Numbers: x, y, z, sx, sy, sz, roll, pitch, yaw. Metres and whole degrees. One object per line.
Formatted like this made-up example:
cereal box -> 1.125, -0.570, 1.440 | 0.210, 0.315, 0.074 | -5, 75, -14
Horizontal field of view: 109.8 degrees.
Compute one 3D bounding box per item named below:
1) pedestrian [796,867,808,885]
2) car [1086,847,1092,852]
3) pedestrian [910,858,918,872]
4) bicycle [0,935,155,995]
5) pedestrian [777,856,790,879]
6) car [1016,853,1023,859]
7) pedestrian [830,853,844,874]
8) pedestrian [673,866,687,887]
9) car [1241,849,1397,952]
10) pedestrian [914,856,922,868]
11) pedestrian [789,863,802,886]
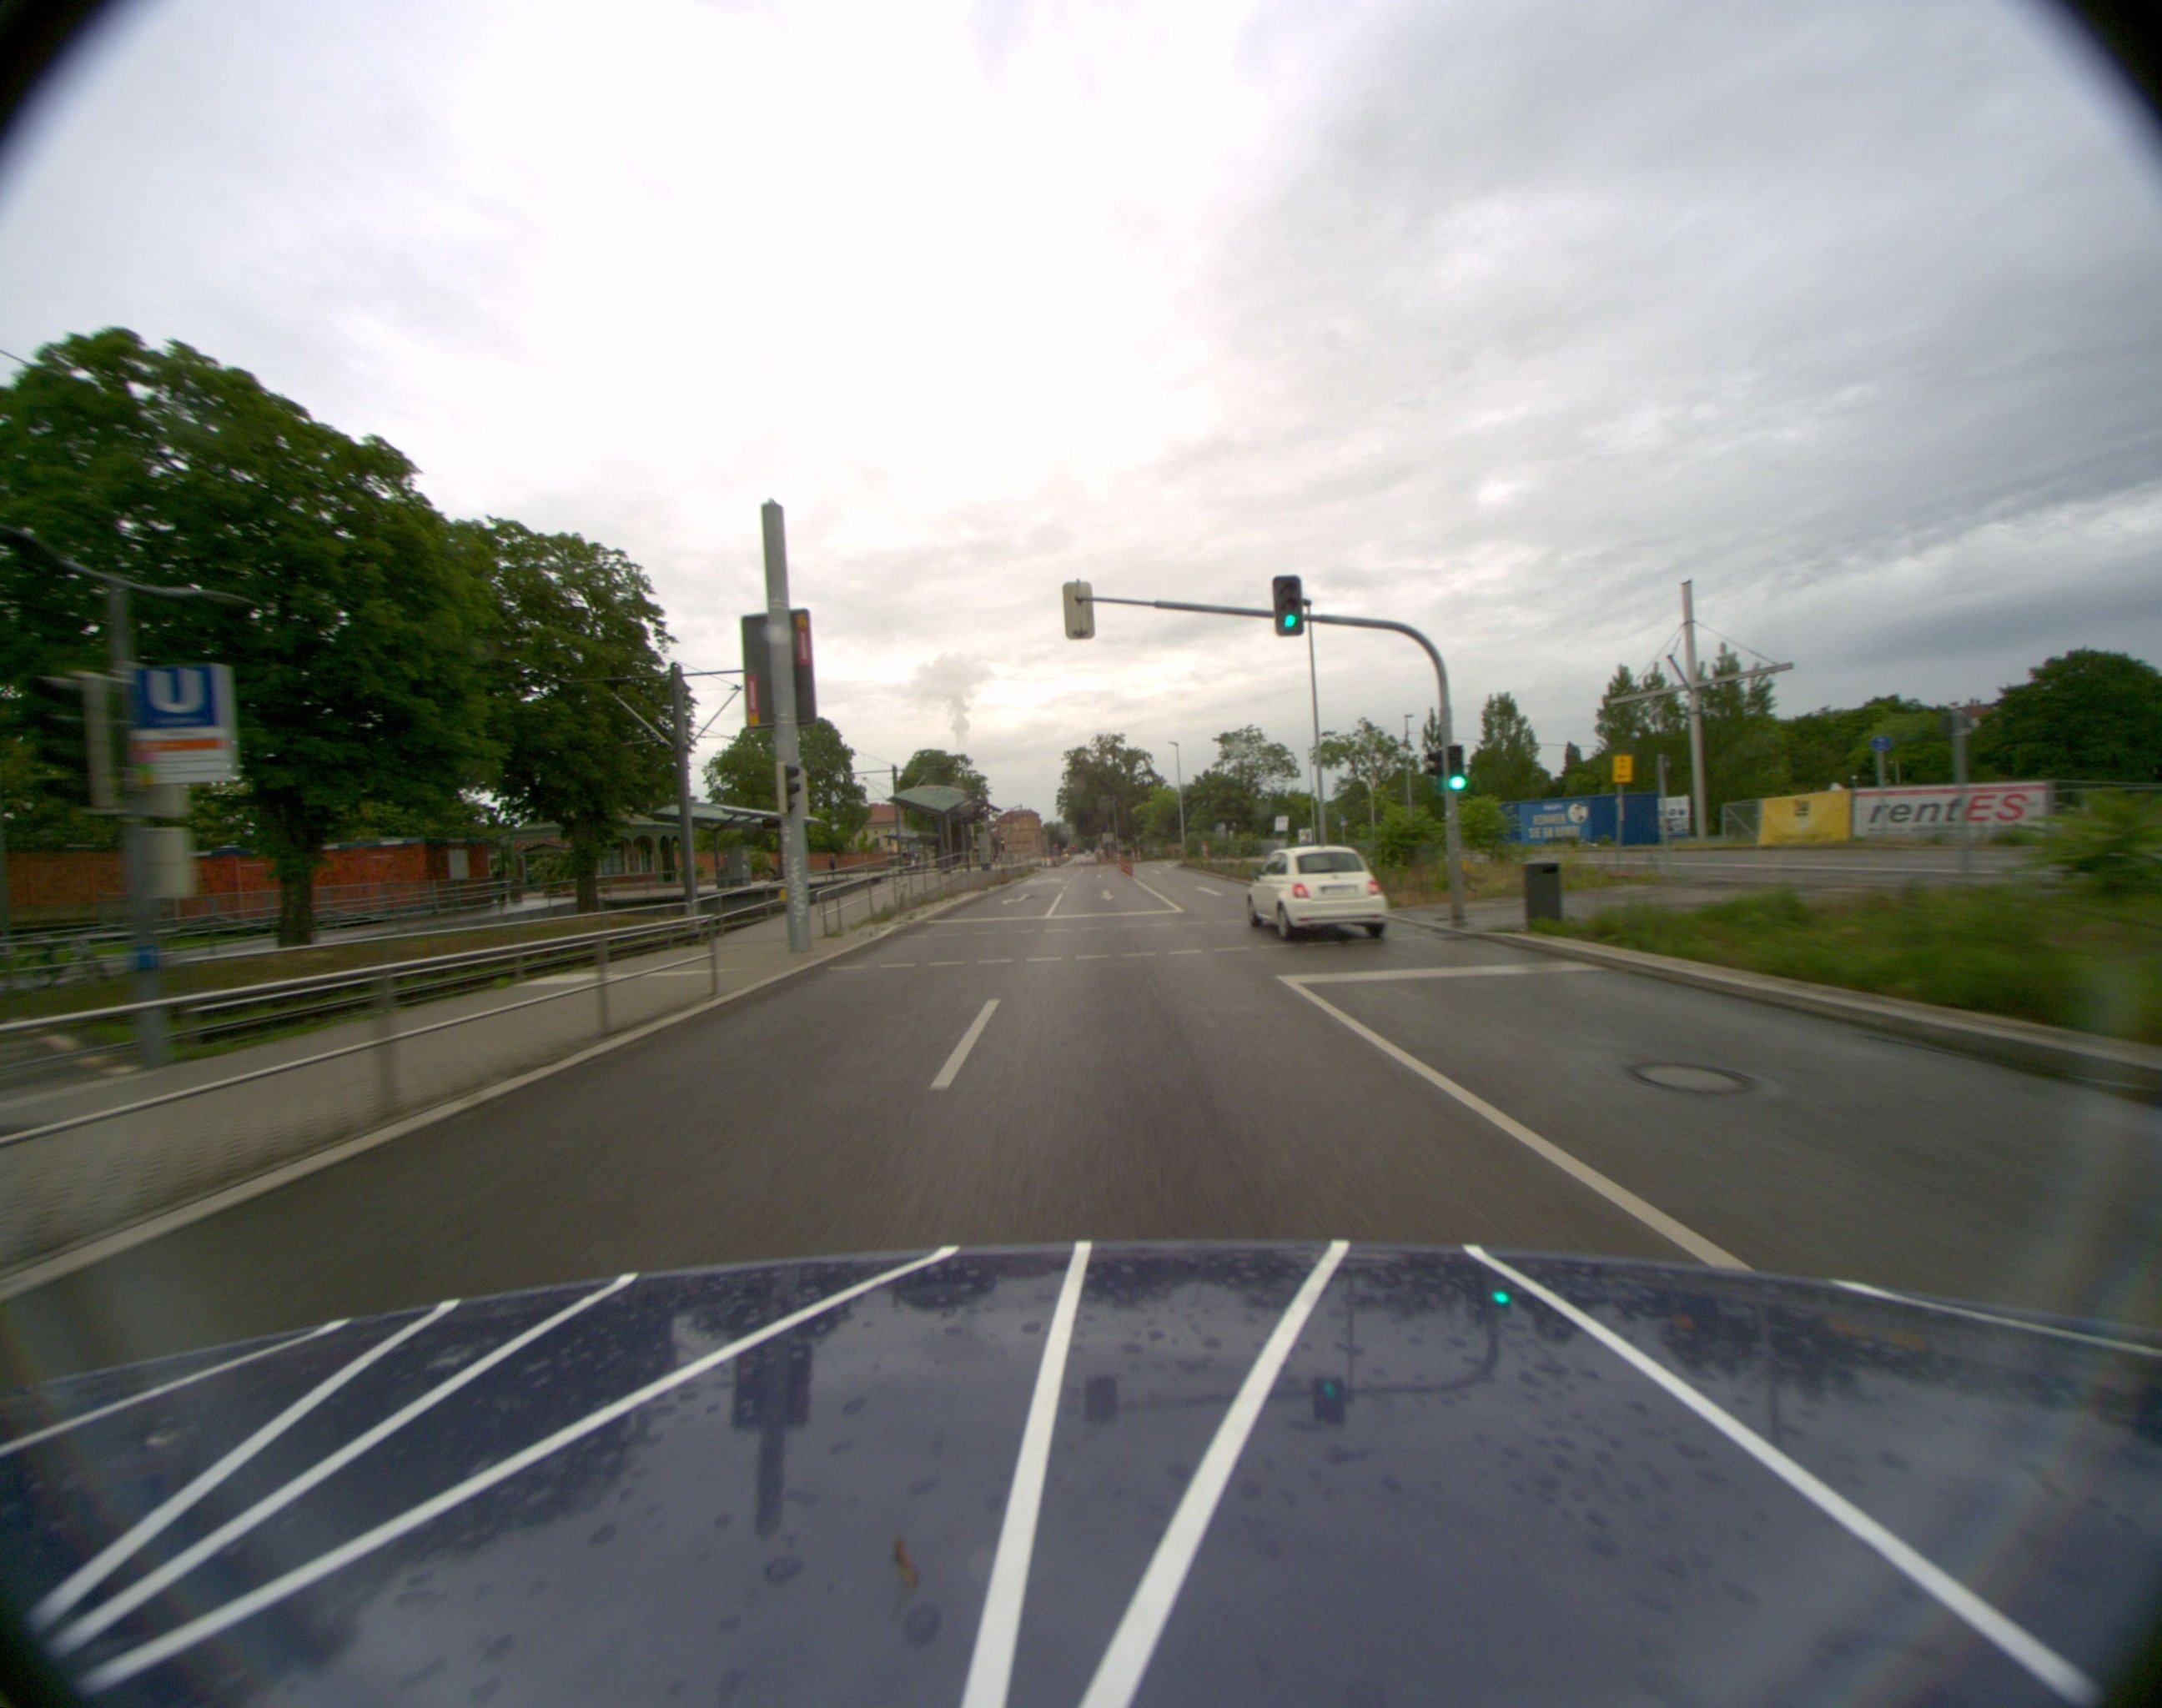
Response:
pedestrian -> -15.900, 1.246, 43.276 | 0.438, 1.003, 0.551 | -3, 1, 2
car -> 2.522, -1.316, 231.038 | 1.713, 1.490, 4.719 | -3, 1, 0
pedestrian -> -15.810, 1.031, 71.899 | 0.520, 1.206, 0.782 | -8, 2, -3
bicycle -> -19.220, 2.116, 14.505 | 2.327, 0.951, 0.570 | -3, 0, -1
pedestrian -> -16.570, 0.755, 42.273 | 0.438, 1.219, 0.551 | -3, 1, 2
car -> -18.997, 0.532, 234.915 | 1.844, 1.630, 4.140 | -7, 1, -4
pedestrian -> -21.265, 0.805, 66.194 | 0.722, 1.780, 1.182 | -2, 0, 1
pedestrian -> -33.698, 1.897, 63.821 | 0.532, 1.701, 0.695 | -6, 2, 12
car -> 4.001, 0.695, 13.364 | 1.591, 1.483, 3.714 | -2, 1, 1
pedestrian -> -15.474, 0.741, 72.253 | 0.602, 1.113, 0.519 | -8, 2, -15
pedestrian -> -15.944, 1.145, 42.426 | 0.438, 1.219, 0.551 | -3, 1, 2
